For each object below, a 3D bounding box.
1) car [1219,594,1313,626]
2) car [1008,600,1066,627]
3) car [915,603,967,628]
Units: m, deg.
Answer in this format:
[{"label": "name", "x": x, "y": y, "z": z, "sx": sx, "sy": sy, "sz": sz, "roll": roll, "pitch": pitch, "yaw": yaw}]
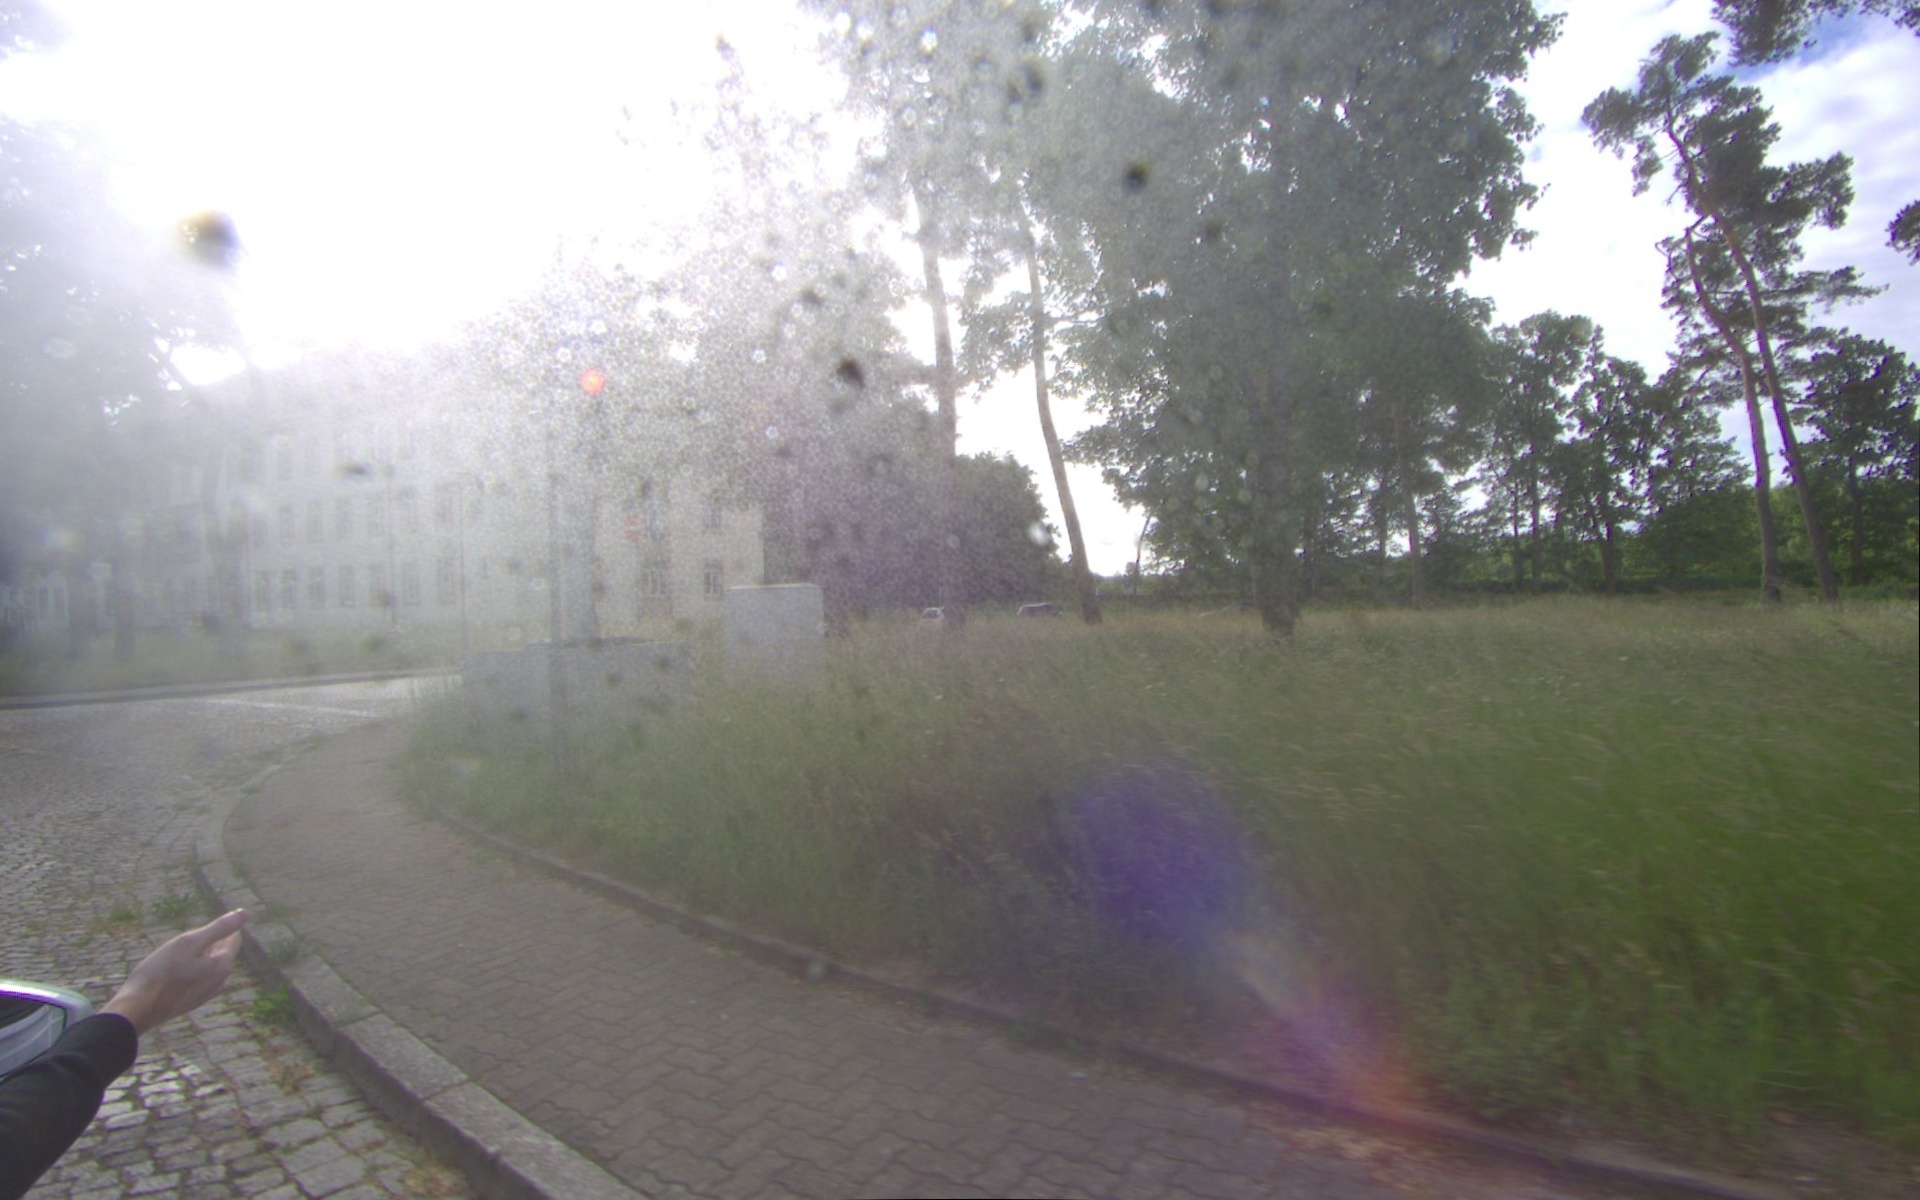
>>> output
[{"label": "car", "x": 16.025, "y": 0.519, "z": 52.463, "sx": 4.384, "sy": 1.607, "sz": 1.991, "roll": -1, "pitch": 0, "yaw": 30}, {"label": "car", "x": 4.821, "y": 0.833, "z": 62.117, "sx": 1.971, "sy": 1.554, "sz": 3.978, "roll": -1, "pitch": 0, "yaw": 32}, {"label": "car", "x": -1.234, "y": 1.006, "z": 66.662, "sx": 1.748, "sy": 1.554, "sz": 3.674, "roll": -1, "pitch": 0, "yaw": 32}]
